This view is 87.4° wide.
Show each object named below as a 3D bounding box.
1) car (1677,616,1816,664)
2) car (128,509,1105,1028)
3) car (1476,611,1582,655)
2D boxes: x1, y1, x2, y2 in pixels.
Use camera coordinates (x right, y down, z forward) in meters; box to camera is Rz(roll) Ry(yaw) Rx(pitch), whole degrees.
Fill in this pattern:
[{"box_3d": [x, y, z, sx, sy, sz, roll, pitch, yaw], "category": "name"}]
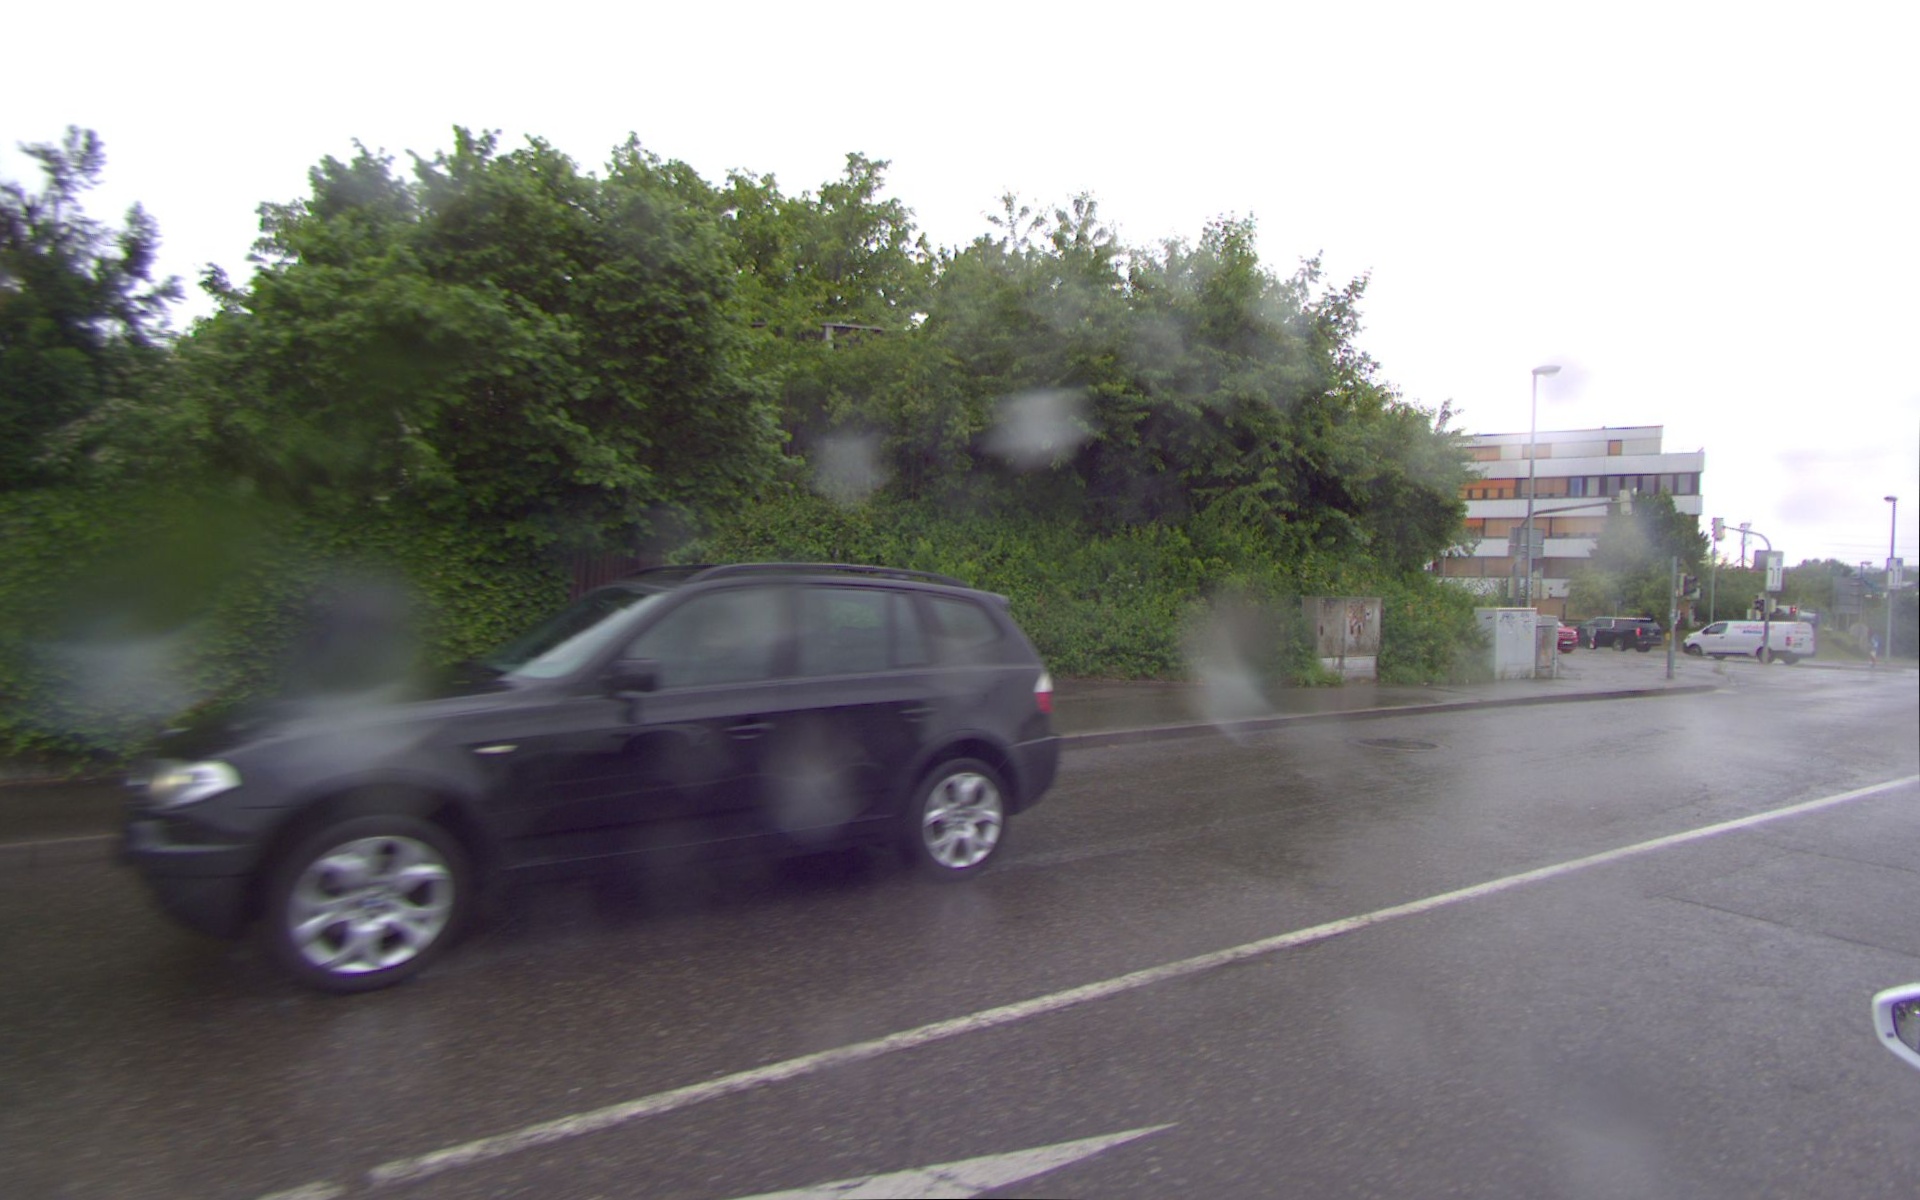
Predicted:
[{"box_3d": [37.546, 1.854, 48.126, 1.969, 2.040, 4.991, 2, 0, -18], "category": "car"}, {"box_3d": [-1.499, 0.595, 5.377, 4.374, 1.690, 1.980, 2, -1, -36], "category": "car"}, {"box_3d": [28.411, 1.604, 50.361, 1.965, 2.040, 4.776, 2, 0, -12], "category": "car"}]
